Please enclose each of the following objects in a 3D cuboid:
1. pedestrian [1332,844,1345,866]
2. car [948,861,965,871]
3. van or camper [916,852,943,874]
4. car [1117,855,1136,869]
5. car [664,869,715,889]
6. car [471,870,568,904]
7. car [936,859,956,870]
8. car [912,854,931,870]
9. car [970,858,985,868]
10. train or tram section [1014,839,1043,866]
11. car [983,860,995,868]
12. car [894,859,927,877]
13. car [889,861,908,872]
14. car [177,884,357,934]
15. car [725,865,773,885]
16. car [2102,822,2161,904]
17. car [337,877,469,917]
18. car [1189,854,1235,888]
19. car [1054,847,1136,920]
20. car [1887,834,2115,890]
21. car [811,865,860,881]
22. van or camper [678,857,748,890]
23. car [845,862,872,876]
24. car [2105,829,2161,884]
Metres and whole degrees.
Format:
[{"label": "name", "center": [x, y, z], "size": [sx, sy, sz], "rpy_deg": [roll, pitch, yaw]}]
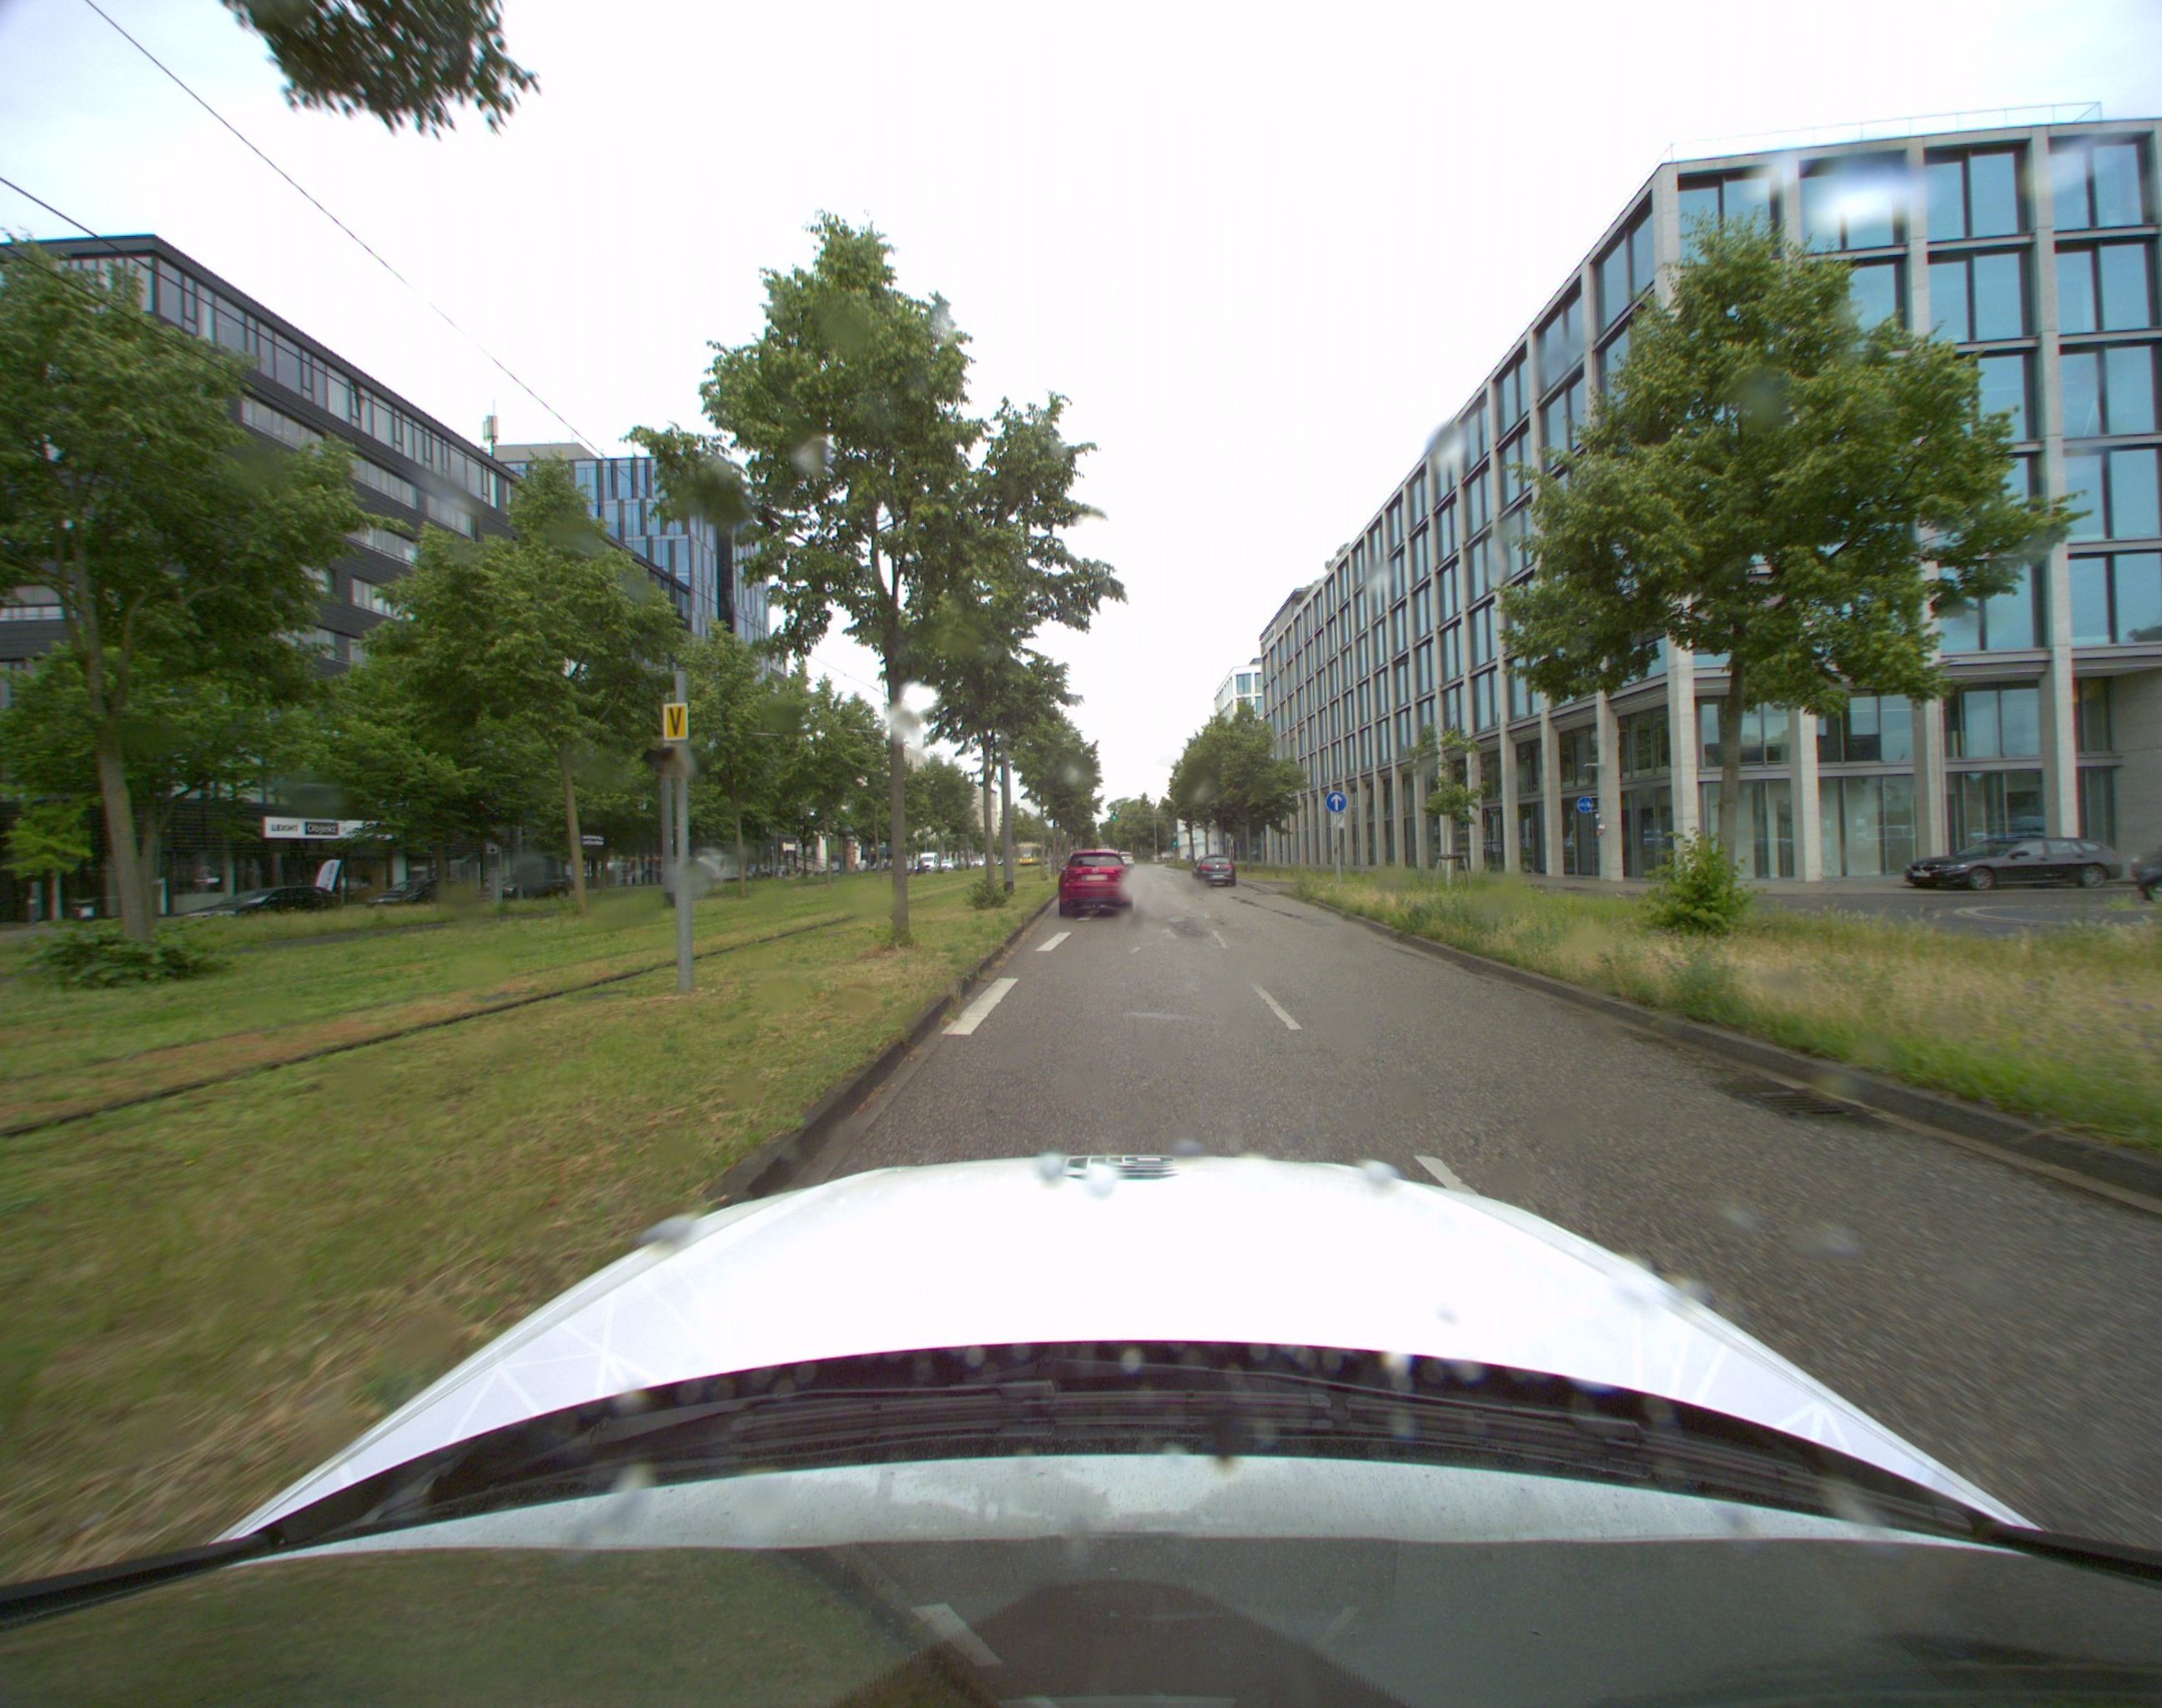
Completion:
[{"label": "pedestrian", "center": [20.663, 0.087, 65.345], "size": [0.714, 1.714, 0.861], "rpy_deg": [-3, 0, 0]}, {"label": "car", "center": [-19.252, 1.858, 126.313], "size": [1.878, 1.459, 4.001], "rpy_deg": [5, 0, 1]}, {"label": "van or camper", "center": [-17.751, 0.997, 95.560], "size": [1.902, 2.410, 5.404], "rpy_deg": [-2, 0, 1]}, {"label": "car", "center": [4.812, 0.873, 86.210], "size": [1.960, 1.437, 4.554], "rpy_deg": [0, 0, 2]}, {"label": "car", "center": [-30.204, 1.939, 63.020], "size": [1.810, 1.378, 4.183], "rpy_deg": [-1, 0, 1]}, {"label": "car", "center": [-27.337, 1.581, 39.816], "size": [1.696, 1.449, 4.242], "rpy_deg": [-1, 0, 1]}, {"label": "car", "center": [-18.517, 1.448, 111.806], "size": [1.878, 1.459, 4.001], "rpy_deg": [-2, 0, 1]}, {"label": "car", "center": [-26.157, 1.269, 133.586], "size": [2.250, 2.561, 4.650], "rpy_deg": [-1, 0, -3]}, {"label": "car", "center": [-15.492, 1.287, 121.922], "size": [1.704, 1.404, 4.001], "rpy_deg": [-2, 0, 1]}, {"label": "train or tram section", "center": [-7.552, -0.140, 119.231], "size": [3.118, 3.659, 13.408], "rpy_deg": [-1, 0, 1]}, {"label": "car", "center": [-19.216, 2.080, 170.644], "size": [1.987, 1.618, 3.999], "rpy_deg": [-2, 0, -1]}, {"label": "car", "center": [-15.328, 1.216, 73.523], "size": [1.856, 1.524, 4.480], "rpy_deg": [-2, 0, 1]}, {"label": "car", "center": [-26.105, 1.835, 116.564], "size": [1.989, 1.484, 4.440], "rpy_deg": [-1, 0, -3]}, {"label": "car", "center": [-27.316, 1.808, 27.542], "size": [1.986, 1.378, 4.001], "rpy_deg": [-1, 0, 1]}, {"label": "car", "center": [-26.925, 1.672, 66.243], "size": [1.987, 1.521, 4.606], "rpy_deg": [-1, 0, 0]}, {"label": "car", "center": [21.989, 0.078, 14.883], "size": [1.844, 1.581, 4.008], "rpy_deg": [-1, -5, 8]}, {"label": "car", "center": [-27.620, 1.720, 33.389], "size": [1.986, 1.378, 4.001], "rpy_deg": [-1, 0, 1]}, {"label": "car", "center": [5.947, 0.740, 37.296], "size": [1.736, 1.465, 3.785], "rpy_deg": [-1, 0, 4]}, {"label": "car", "center": [0.352, 0.698, 21.360], "size": [1.892, 1.677, 4.000], "rpy_deg": [-1, 0, 0]}, {"label": "car", "center": [26.606, 0.219, 23.690], "size": [4.197, 1.437, 1.985], "rpy_deg": [-1, 2, 6]}, {"label": "car", "center": [-25.715, 1.982, 85.296], "size": [4.693, 1.521, 1.982], "rpy_deg": [-1, 0, -28]}, {"label": "van or camper", "center": [-27.110, 1.382, 60.268], "size": [2.424, 2.315, 5.851], "rpy_deg": [-1, 0, 1]}, {"label": "car", "center": [-26.584, 1.746, 97.553], "size": [1.987, 1.521, 4.606], "rpy_deg": [-1, 0, 0]}, {"label": "car", "center": [32.585, 0.033, 23.322], "size": [3.968, 1.488, 1.864], "rpy_deg": [-2, 2, 4]}]
